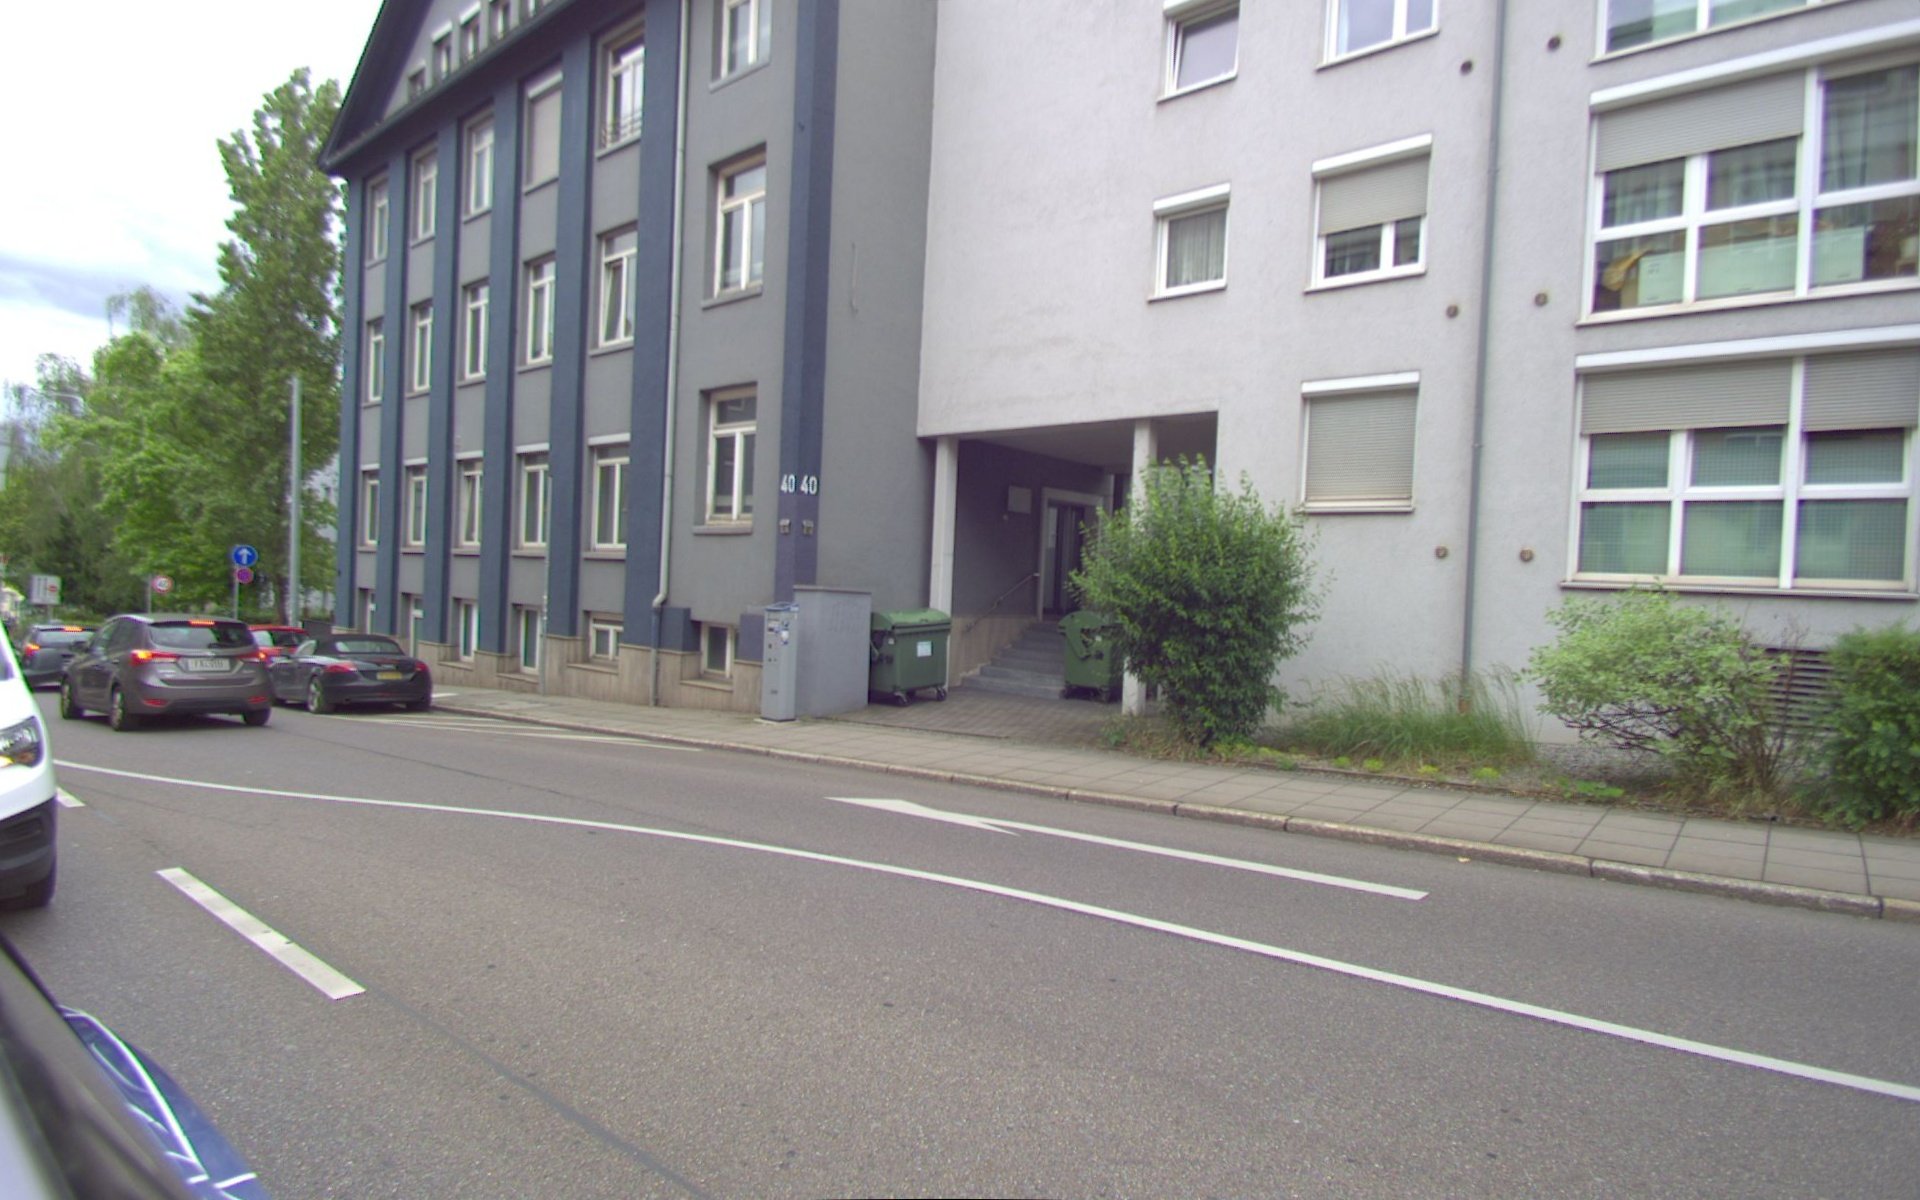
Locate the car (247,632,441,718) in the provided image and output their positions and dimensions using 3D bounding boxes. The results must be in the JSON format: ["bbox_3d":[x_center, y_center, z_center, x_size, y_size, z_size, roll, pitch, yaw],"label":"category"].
[{"bbox_3d":[-11.057,1.284,18.073,4.038,1.337,1.702,-1,-4,40],"label":"car"}]

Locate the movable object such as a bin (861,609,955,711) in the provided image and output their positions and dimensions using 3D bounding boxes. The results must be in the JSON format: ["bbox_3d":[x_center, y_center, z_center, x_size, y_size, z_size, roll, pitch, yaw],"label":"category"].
[{"bbox_3d":[-0.797,0.896,15.684,0.784,1.467,1.251,0,1,44],"label":"movable object such as a bin"}]

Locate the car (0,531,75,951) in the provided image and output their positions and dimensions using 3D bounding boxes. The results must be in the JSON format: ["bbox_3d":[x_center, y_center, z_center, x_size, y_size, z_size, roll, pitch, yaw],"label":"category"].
[{"bbox_3d":[-6.459,0.661,5.539,4.937,1.821,1.816,-1,0,42],"label":"car"}]

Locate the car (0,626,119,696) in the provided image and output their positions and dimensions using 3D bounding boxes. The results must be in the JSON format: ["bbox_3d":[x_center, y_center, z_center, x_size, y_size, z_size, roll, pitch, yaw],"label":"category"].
[{"bbox_3d":[-19.802,1.298,22.055,3.793,1.411,1.655,-1,-4,41],"label":"car"}]

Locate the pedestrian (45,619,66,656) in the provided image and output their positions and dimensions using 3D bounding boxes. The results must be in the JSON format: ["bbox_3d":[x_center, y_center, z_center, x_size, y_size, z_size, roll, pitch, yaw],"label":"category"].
[{"bbox_3d":[-47.063,1.940,52.669,0.776,1.864,0.736,-2,-1,42],"label":"pedestrian"}]

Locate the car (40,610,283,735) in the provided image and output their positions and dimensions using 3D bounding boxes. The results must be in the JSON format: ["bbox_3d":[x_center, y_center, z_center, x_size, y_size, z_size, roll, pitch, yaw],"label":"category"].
[{"bbox_3d":[-11.712,0.998,14.780,3.927,1.599,1.688,-1,-4,35],"label":"car"}]

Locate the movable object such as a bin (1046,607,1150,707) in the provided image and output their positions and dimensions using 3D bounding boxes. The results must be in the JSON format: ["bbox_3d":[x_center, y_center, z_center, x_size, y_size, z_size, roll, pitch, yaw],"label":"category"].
[{"bbox_3d":[2.270,0.909,16.648,1.190,1.489,1.132,5,2,41],"label":"movable object such as a bin"}]

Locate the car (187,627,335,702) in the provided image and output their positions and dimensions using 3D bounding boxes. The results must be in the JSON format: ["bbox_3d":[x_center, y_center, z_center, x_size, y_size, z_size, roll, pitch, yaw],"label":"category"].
[{"bbox_3d":[-15.384,1.379,22.206,3.868,1.485,1.796,-2,-4,42],"label":"car"}]
